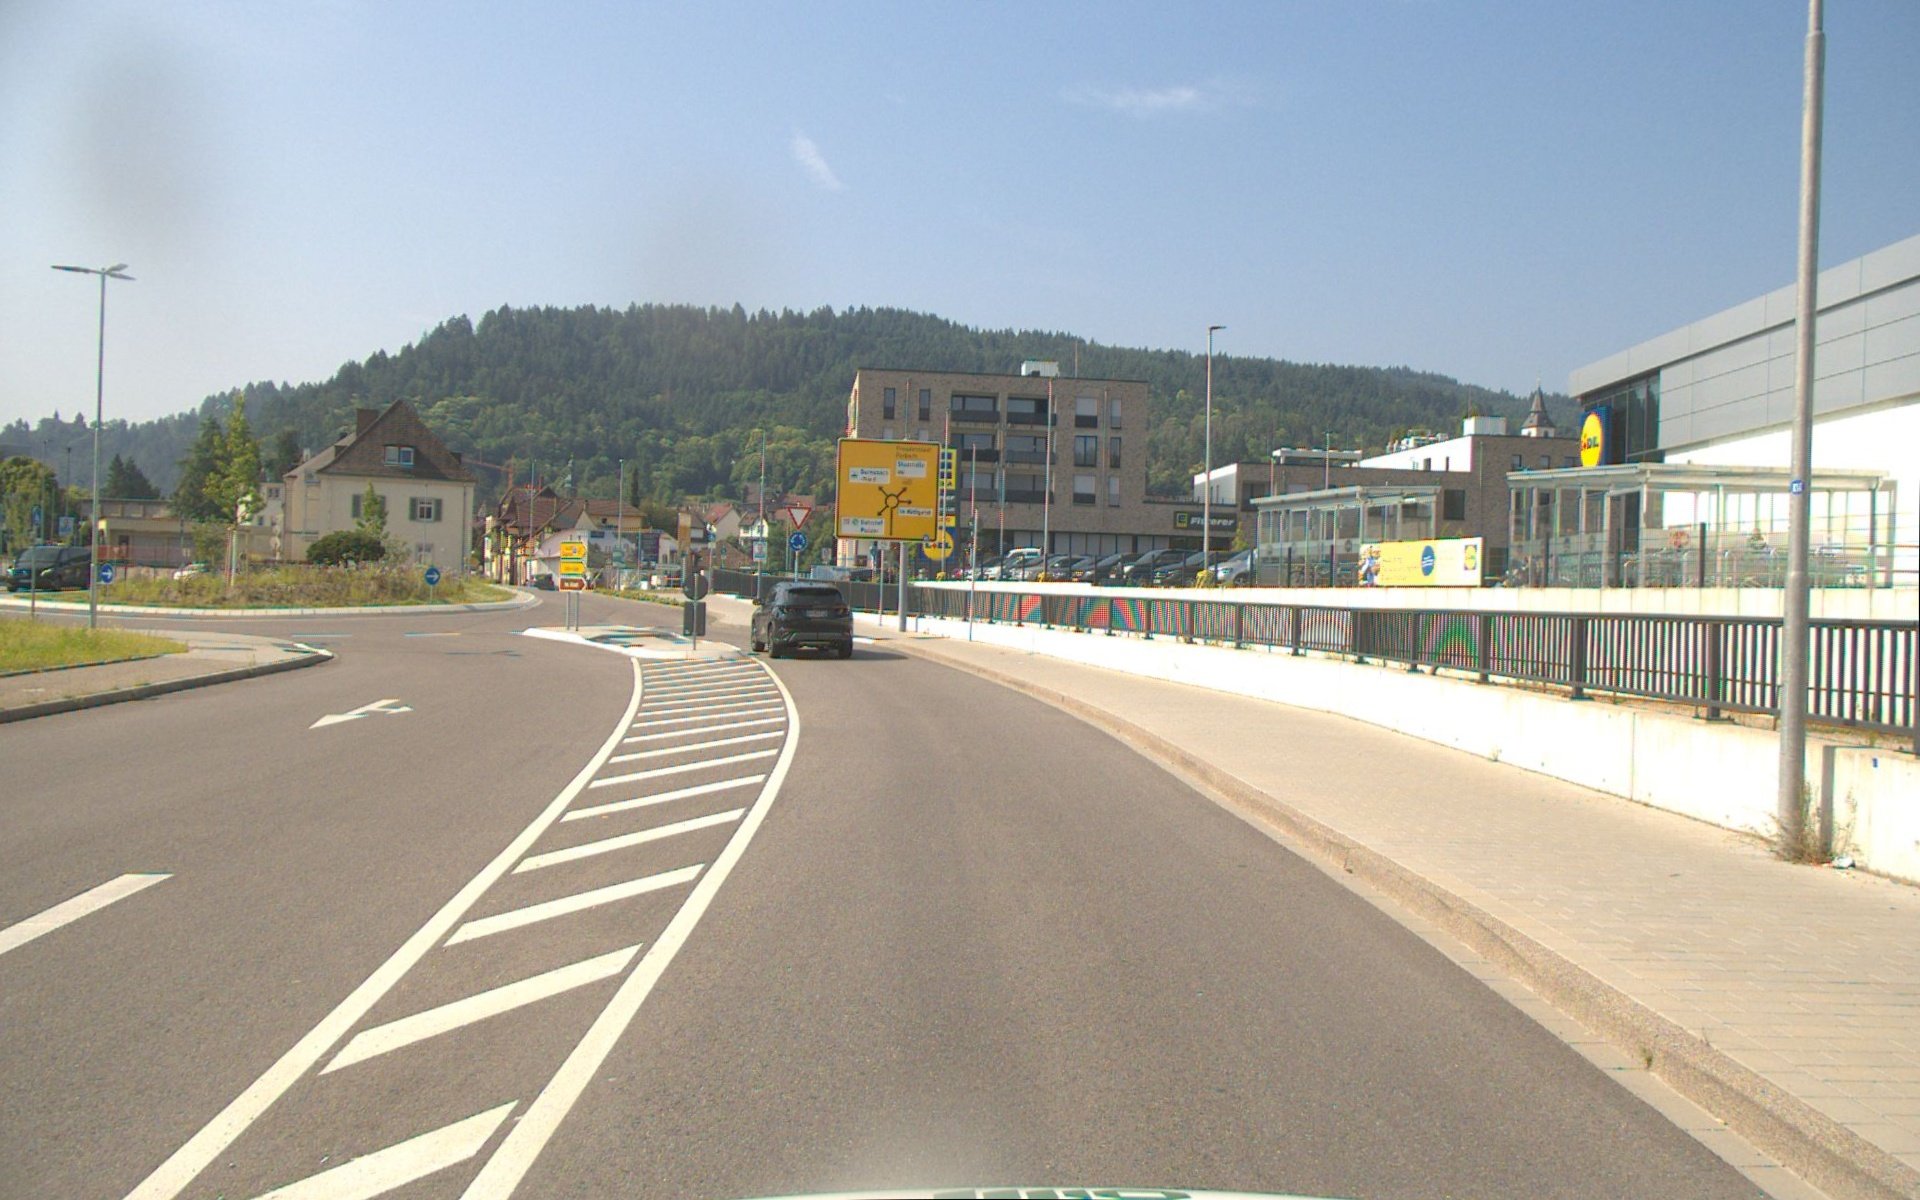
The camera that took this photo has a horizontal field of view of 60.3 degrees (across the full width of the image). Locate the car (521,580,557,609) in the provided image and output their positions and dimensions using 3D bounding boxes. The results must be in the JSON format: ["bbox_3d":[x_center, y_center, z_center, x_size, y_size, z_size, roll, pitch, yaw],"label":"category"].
[{"bbox_3d":[-30.838,-0.372,121.083,1.966,2.049,3.972,1,0,-23],"label":"car"}]

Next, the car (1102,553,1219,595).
[{"bbox_3d":[7.427,-0.958,61.344,3.946,1.428,1.715,1,1,-20],"label":"car"}]

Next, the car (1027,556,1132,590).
[{"bbox_3d":[4.889,-1.117,67.630,3.908,1.267,1.720,1,1,-20],"label":"car"}]

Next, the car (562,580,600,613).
[{"bbox_3d":[-24.444,-0.225,106.739,1.956,2.049,3.993,1,0,-7],"label":"car"}]

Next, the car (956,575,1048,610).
[{"bbox_3d":[1.985,-0.354,78.244,3.992,1.513,1.708,1,1,-18],"label":"car"}]

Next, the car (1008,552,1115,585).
[{"bbox_3d":[4.300,-1.319,70.086,4.216,1.267,1.655,1,1,-20],"label":"car"}]

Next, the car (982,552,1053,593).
[{"bbox_3d":[3.176,-1.501,91.453,3.904,2.173,2.000,1,0,1],"label":"car"}]

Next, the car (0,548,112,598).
[{"bbox_3d":[-37.878,-1.104,69.438,1.801,1.980,4.884,1,0,3],"label":"car"}]

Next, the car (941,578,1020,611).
[{"bbox_3d":[1.002,-0.272,80.881,3.503,1.455,1.701,1,1,-20],"label":"car"}]

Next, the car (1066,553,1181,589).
[{"bbox_3d":[6.390,-1.133,64.834,4.151,1.267,1.734,1,1,-20],"label":"car"}]

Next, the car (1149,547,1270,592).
[{"bbox_3d":[8.745,-1.073,57.983,4.002,1.428,1.477,1,1,-21],"label":"car"}]

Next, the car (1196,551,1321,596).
[{"bbox_3d":[9.893,-0.874,54.863,3.749,1.388,1.671,1,1,-20],"label":"car"}]

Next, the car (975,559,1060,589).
[{"bbox_3d":[2.611,-1.191,75.582,3.503,1.220,1.705,1,1,-20],"label":"car"}]

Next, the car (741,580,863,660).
[{"bbox_3d":[-3.674,0.440,37.813,1.853,1.713,3.976,1,0,-20],"label":"car"}]

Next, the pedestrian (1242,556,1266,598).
[{"bbox_3d":[9.496,-0.724,53.421,0.538,1.335,0.653,1,0,-18],"label":"pedestrian"}]
